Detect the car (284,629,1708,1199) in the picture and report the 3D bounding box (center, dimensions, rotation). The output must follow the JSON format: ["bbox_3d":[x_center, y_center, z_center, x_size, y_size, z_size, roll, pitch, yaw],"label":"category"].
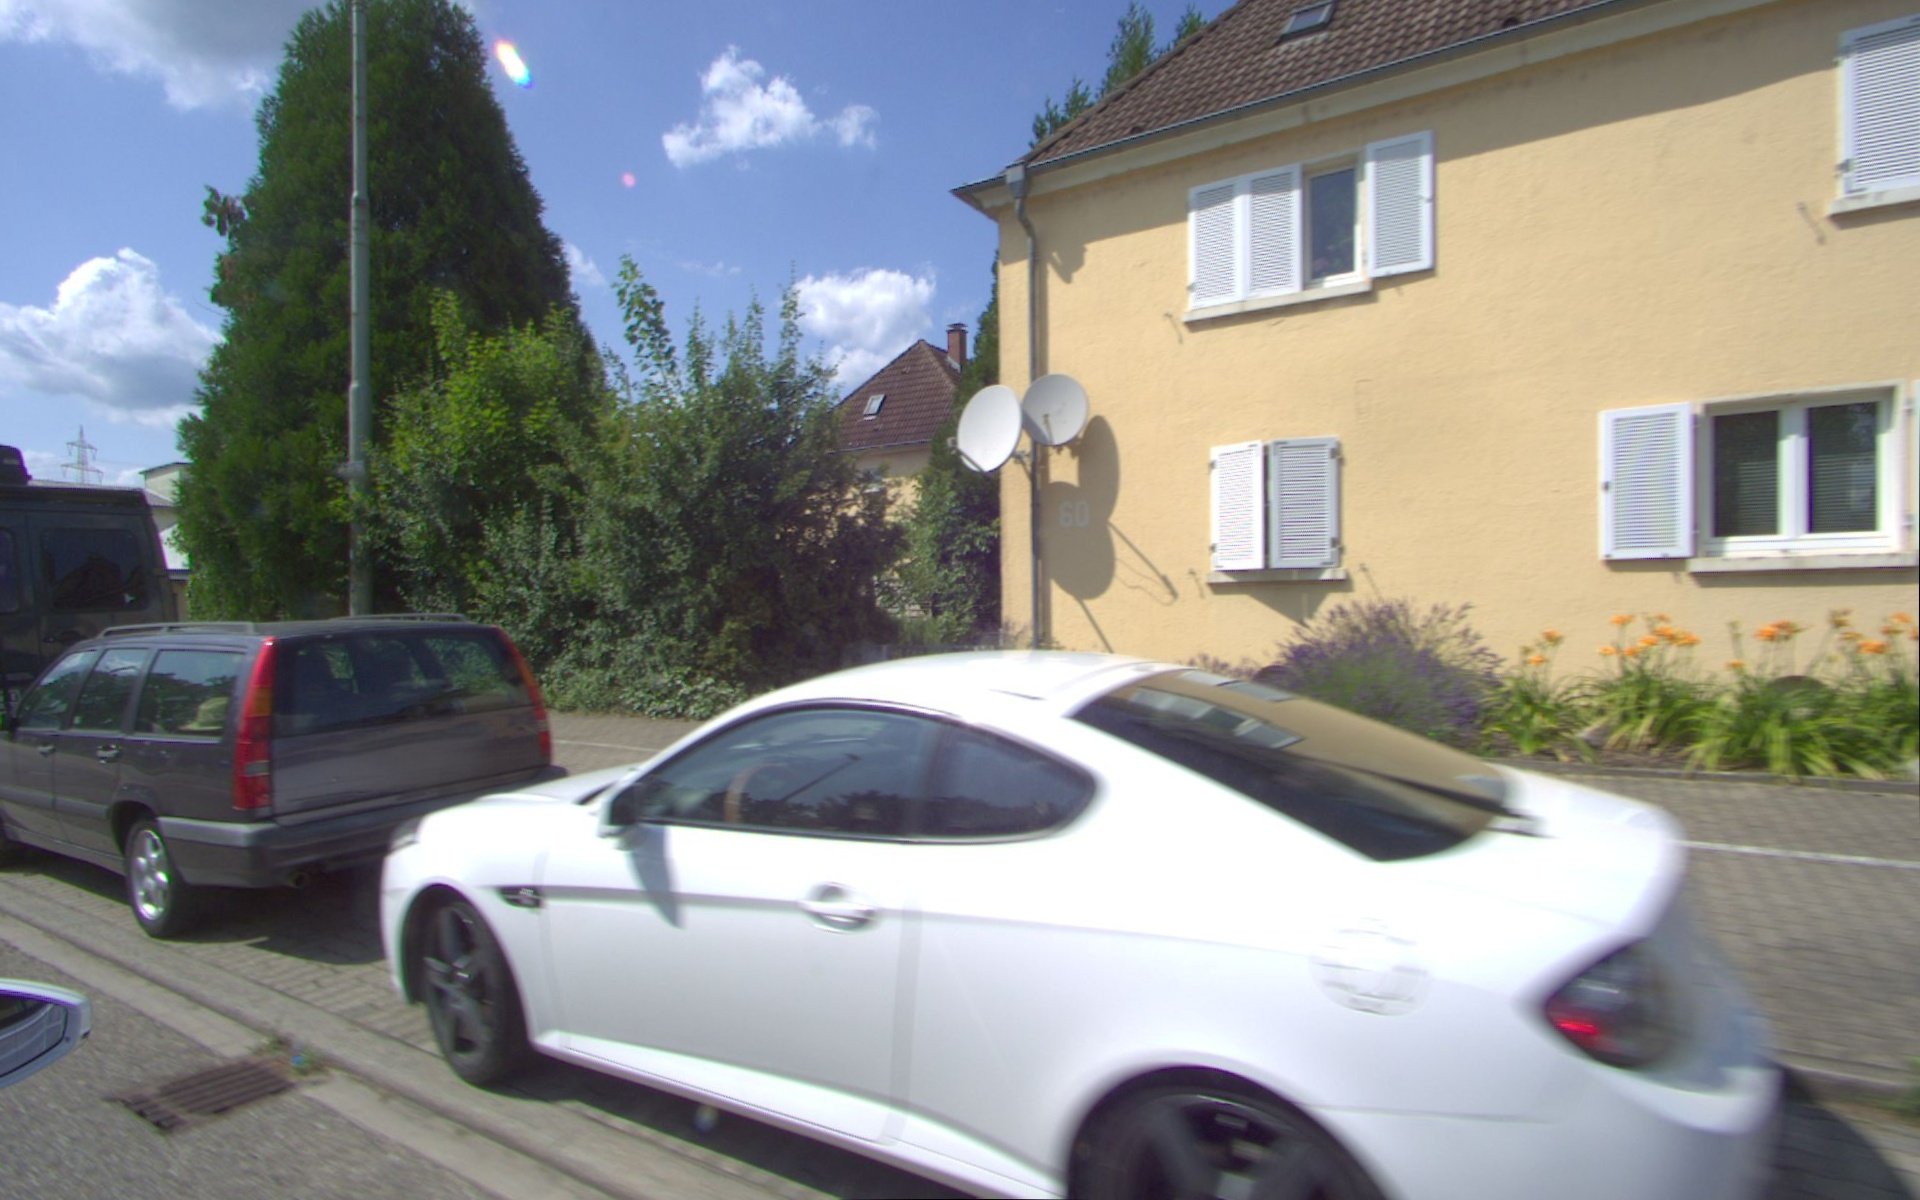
[{"bbox_3d":[-0.227,0.786,3.220,4.070,1.312,1.717,-1,1,32],"label":"car"}]

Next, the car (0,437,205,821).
[{"bbox_3d":[-8.878,0.249,8.807,4.810,2.797,1.991,-1,1,33],"label":"car"}]

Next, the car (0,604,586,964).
[{"bbox_3d":[-4.515,0.787,6.056,4.769,1.420,1.717,-1,1,33],"label":"car"}]
